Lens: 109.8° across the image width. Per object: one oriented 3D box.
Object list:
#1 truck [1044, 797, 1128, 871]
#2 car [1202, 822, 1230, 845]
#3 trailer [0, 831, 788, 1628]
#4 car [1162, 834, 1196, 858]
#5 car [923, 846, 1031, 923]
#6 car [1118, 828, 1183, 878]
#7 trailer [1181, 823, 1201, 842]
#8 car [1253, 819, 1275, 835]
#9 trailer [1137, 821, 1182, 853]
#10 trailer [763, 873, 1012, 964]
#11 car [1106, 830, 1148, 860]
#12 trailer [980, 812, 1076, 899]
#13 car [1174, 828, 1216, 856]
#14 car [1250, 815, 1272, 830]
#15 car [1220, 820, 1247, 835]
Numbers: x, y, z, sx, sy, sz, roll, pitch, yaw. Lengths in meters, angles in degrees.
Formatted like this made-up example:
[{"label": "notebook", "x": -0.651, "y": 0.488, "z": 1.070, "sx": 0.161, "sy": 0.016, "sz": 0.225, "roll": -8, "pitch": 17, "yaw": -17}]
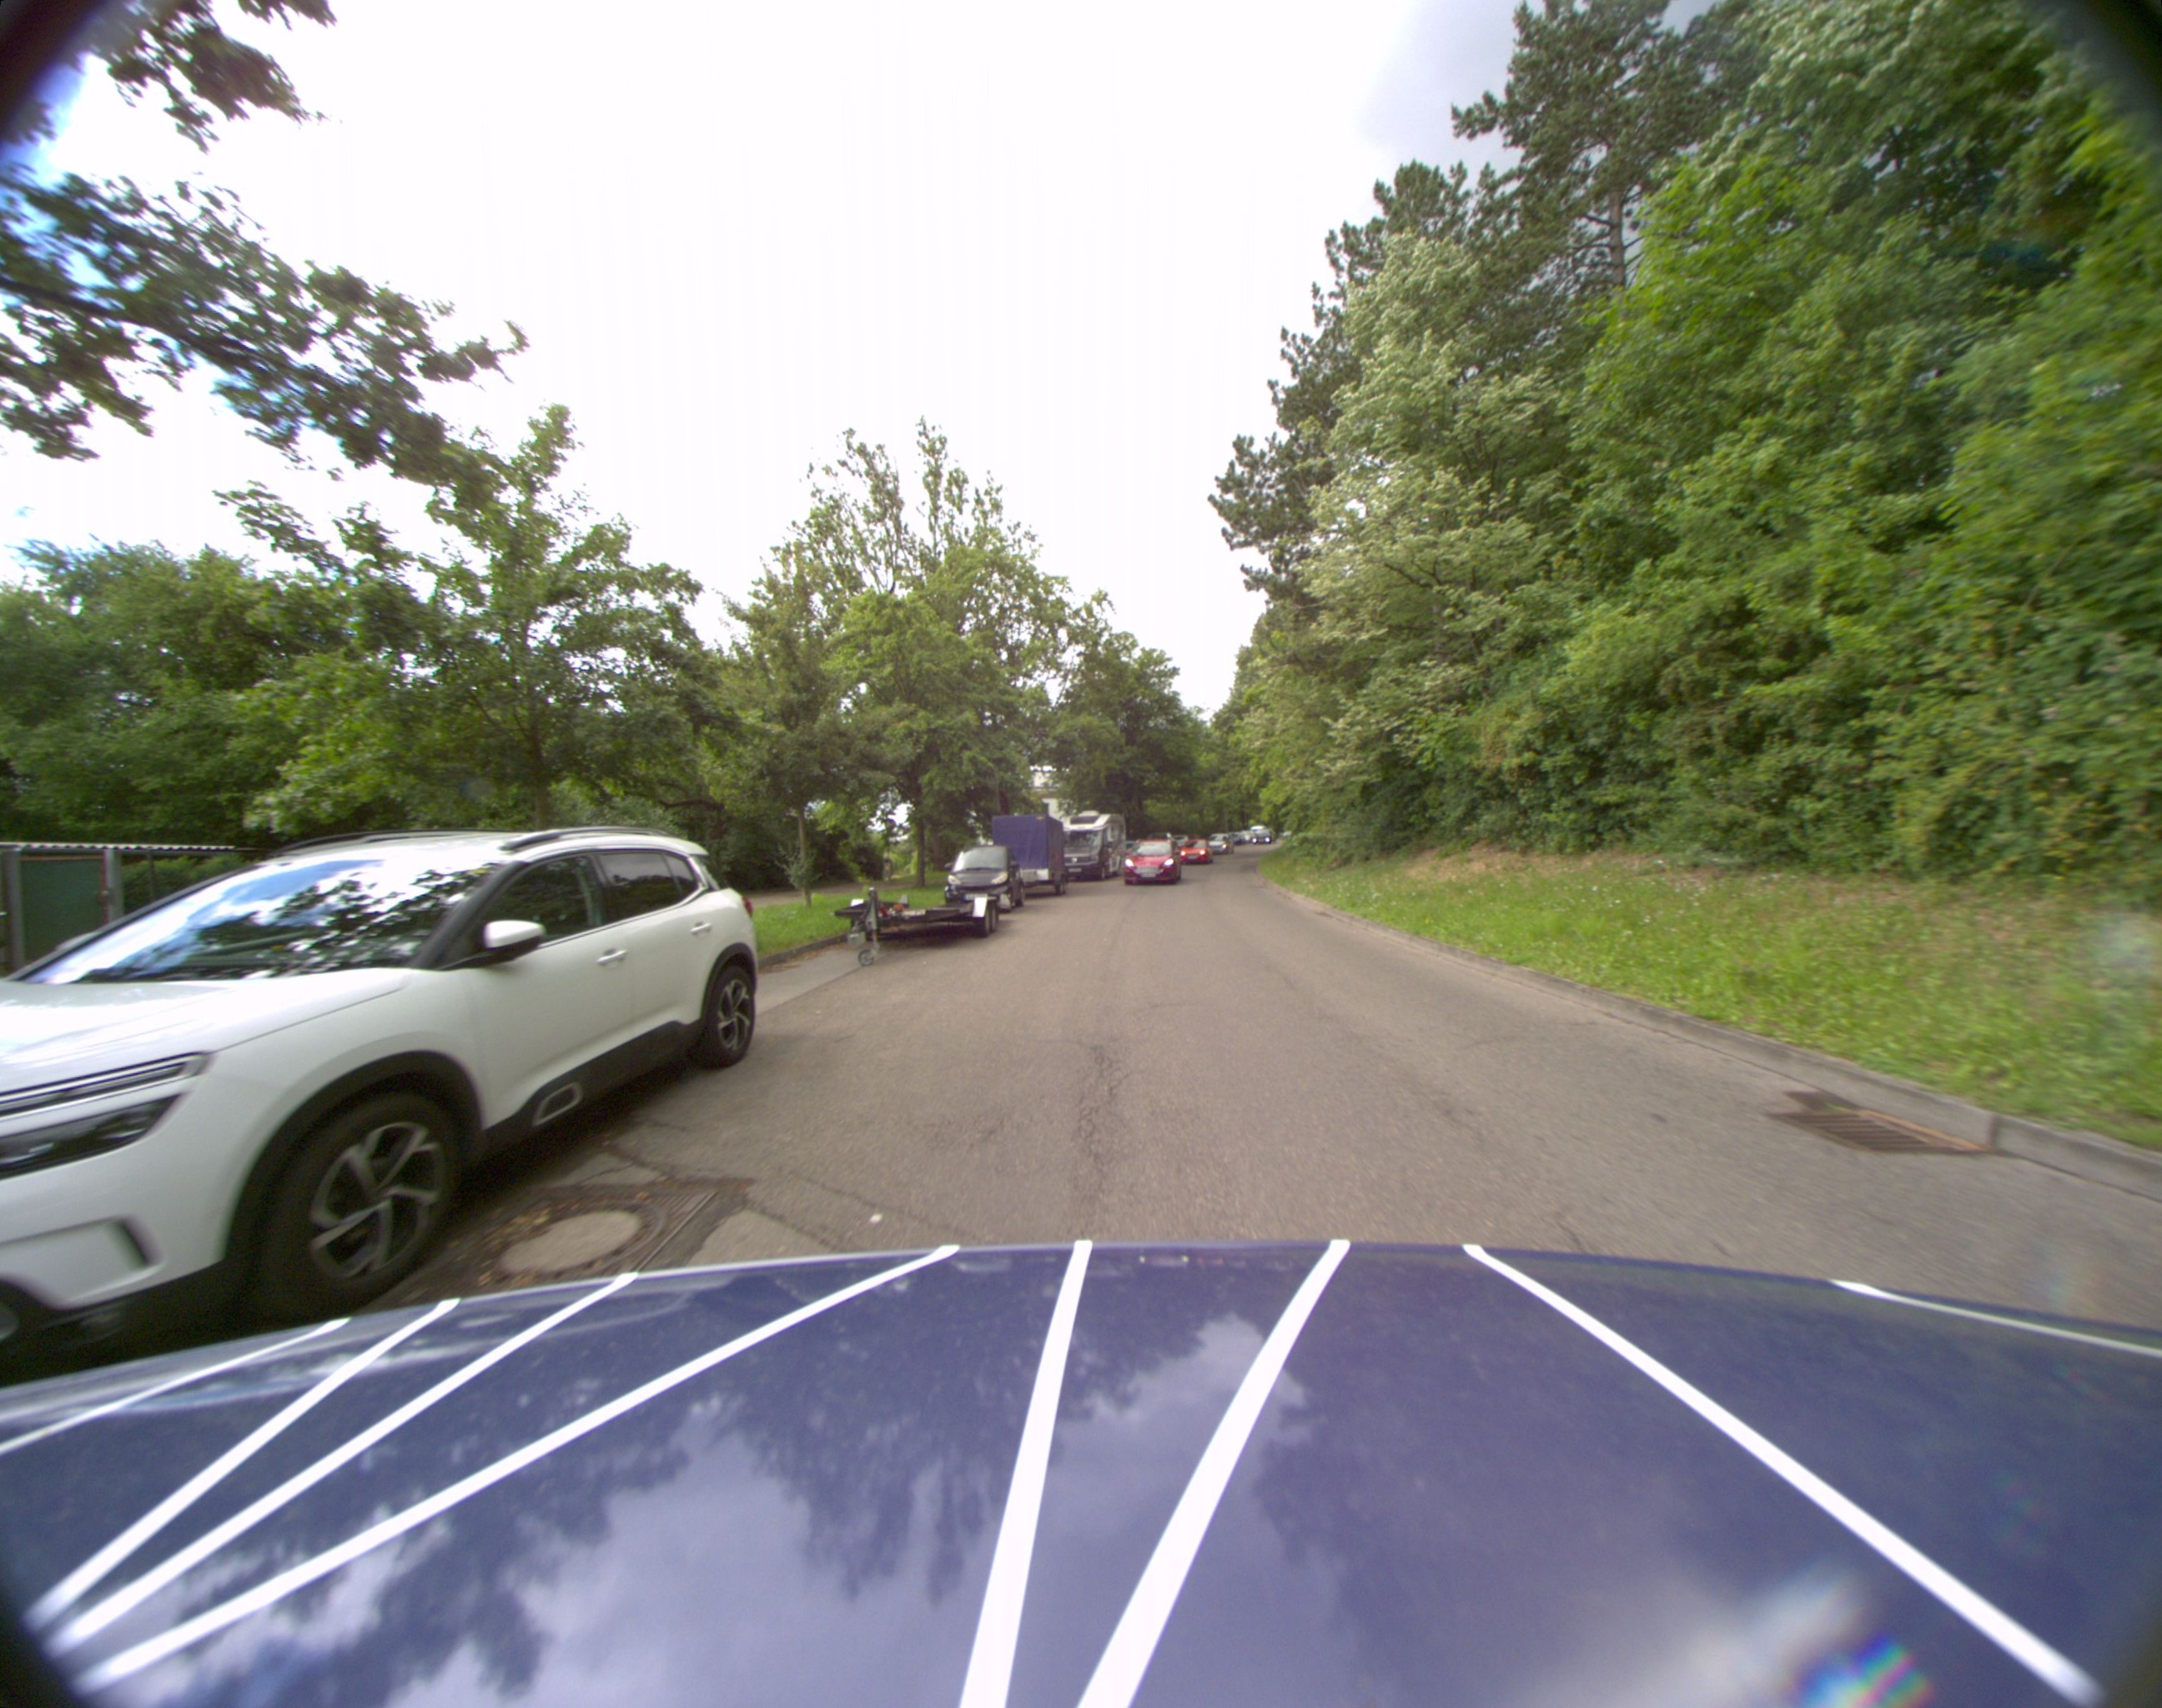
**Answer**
[{"label": "truck", "x": 0.408, "y": -0.891, "z": 33.788, "sx": 2.307, "sy": 2.917, "sz": 7.037, "roll": -1, "pitch": 2, "yaw": 12}, {"label": "car", "x": 10.673, "y": -1.651, "z": 60.015, "sx": 1.920, "sy": 1.672, "sz": 4.002, "roll": 0, "pitch": 3, "yaw": 13}, {"label": "trailer", "x": -3.298, "y": 0.779, "z": 3.837, "sx": 1.777, "sy": 1.721, "sz": 4.648, "roll": 0, "pitch": 2, "yaw": 0}, {"label": "car", "x": 7.562, "y": -0.635, "z": 58.558, "sx": 1.843, "sy": 1.675, "sz": 4.605, "roll": -2, "pitch": 1, "yaw": 16}, {"label": "car", "x": -2.333, "y": 0.637, "z": 17.965, "sx": 1.733, "sy": 1.514, "sz": 3.405, "roll": -2, "pitch": 2, "yaw": 5}, {"label": "car", "x": 2.723, "y": -0.106, "z": 28.735, "sx": 1.997, "sy": 1.619, "sz": 4.628, "roll": -2, "pitch": 2, "yaw": 10}, {"label": "trailer", "x": 9.451, "y": -1.867, "z": 65.157, "sx": 1.375, "sy": 1.595, "sz": 2.269, "roll": -2, "pitch": 2, "yaw": 16}, {"label": "car", "x": 19.458, "y": -2.883, "z": 80.616, "sx": 1.765, "sy": 1.509, "sz": 4.004, "roll": -2, "pitch": 3, "yaw": 21}, {"label": "trailer", "x": 5.541, "y": -1.236, "z": 52.946, "sx": 1.996, "sy": 1.923, "sz": 5.897, "roll": -2, "pitch": 4, "yaw": 16}, {"label": "trailer", "x": -2.606, "y": 0.853, "z": 12.272, "sx": 2.109, "sy": 0.647, "sz": 6.400, "roll": -3, "pitch": 2, "yaw": 3}, {"label": "car", "x": 2.701, "y": -0.556, "z": 44.066, "sx": 1.697, "sy": 1.539, "sz": 3.771, "roll": -2, "pitch": 2, "yaw": 15}, {"label": "trailer", "x": -1.463, "y": 0.037, "z": 22.981, "sx": 2.111, "sy": 2.348, "sz": 4.703, "roll": 0, "pitch": 0, "yaw": 6}, {"label": "car", "x": 6.821, "y": -0.750, "z": 45.053, "sx": 1.865, "sy": 1.441, "sz": 4.179, "roll": -2, "pitch": 2, "yaw": 16}, {"label": "car", "x": 22.116, "y": -3.862, "z": 93.268, "sx": 1.864, "sy": 1.717, "sz": 4.181, "roll": -2, "pitch": 2, "yaw": 24}, {"label": "car", "x": 16.277, "y": -2.859, "z": 80.974, "sx": 1.864, "sy": 1.441, "sz": 4.181, "roll": -2, "pitch": 2, "yaw": 24}]
